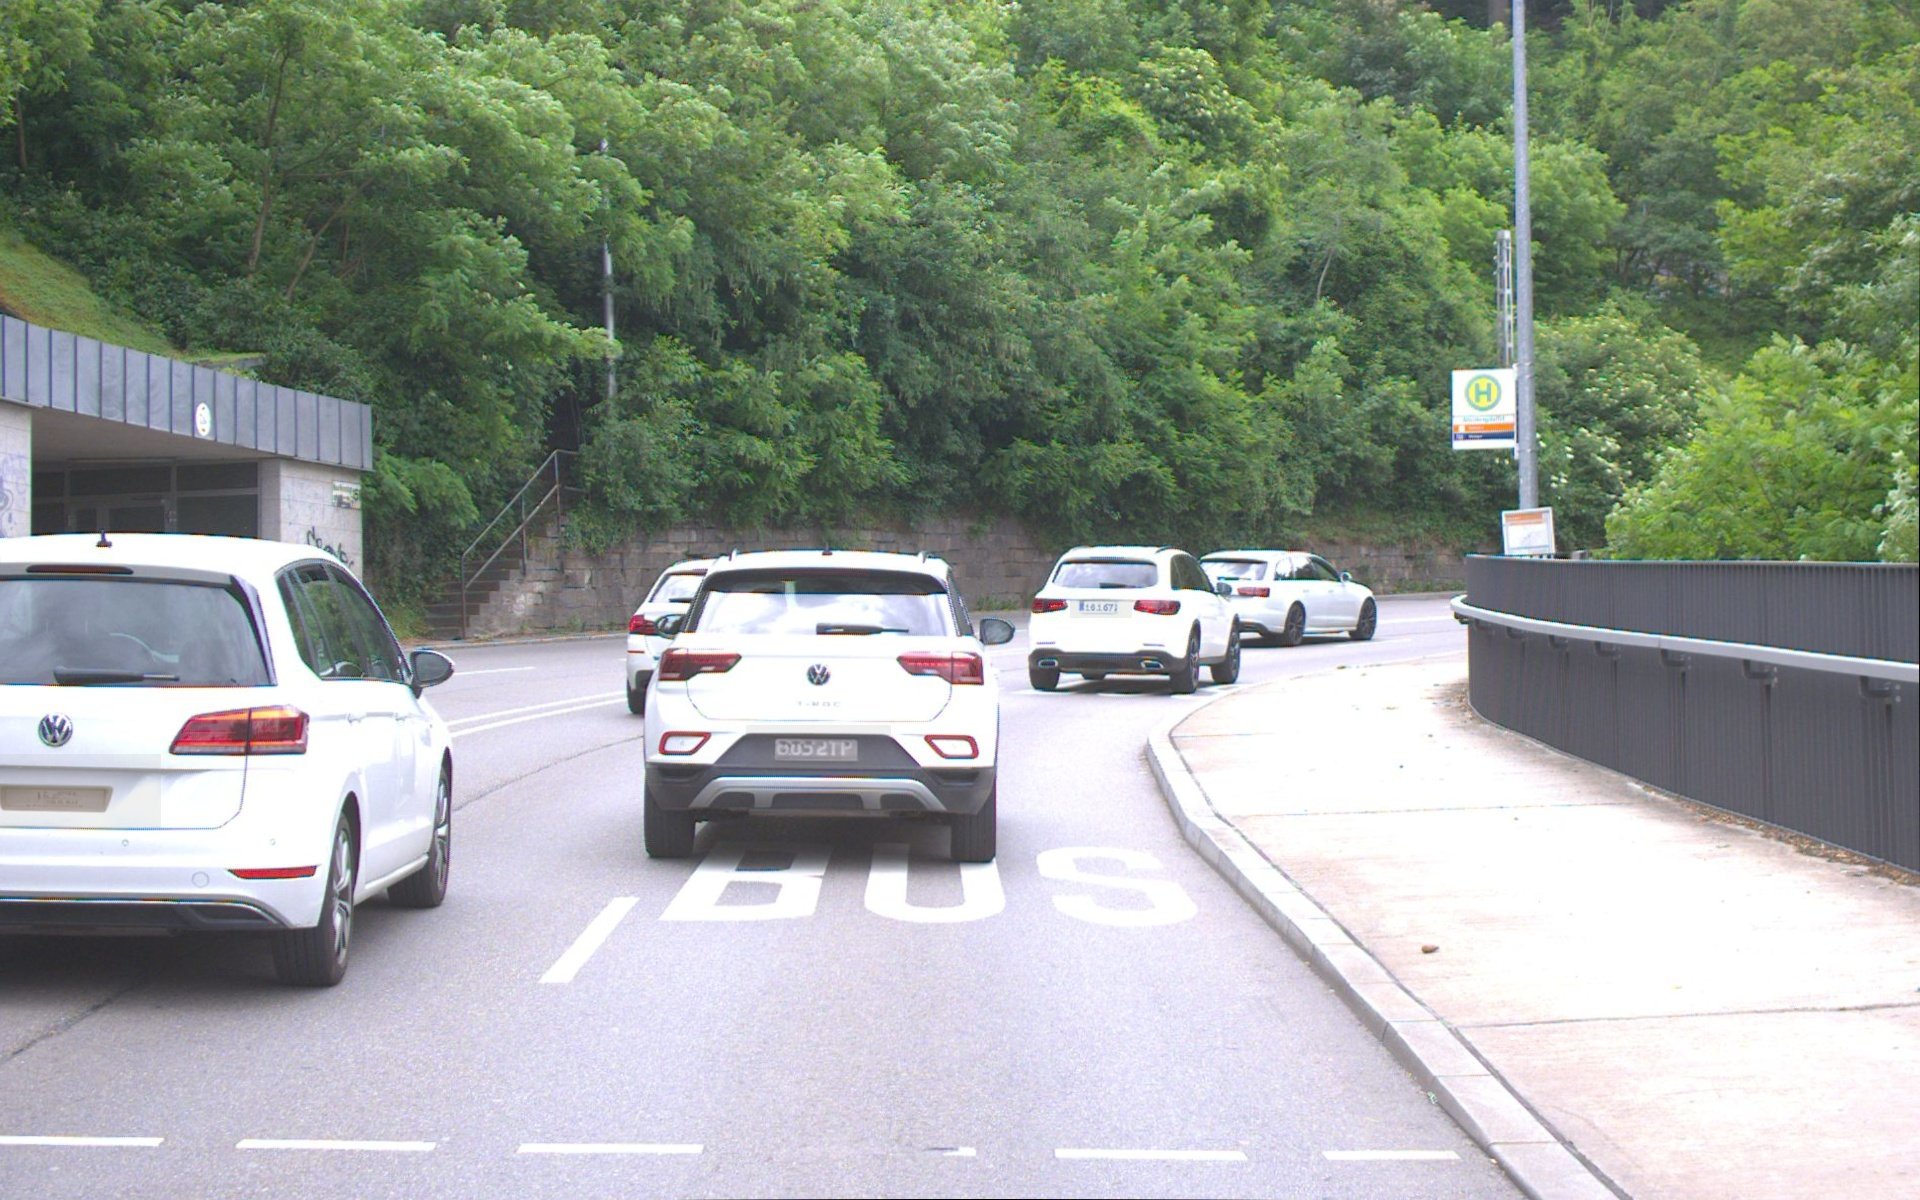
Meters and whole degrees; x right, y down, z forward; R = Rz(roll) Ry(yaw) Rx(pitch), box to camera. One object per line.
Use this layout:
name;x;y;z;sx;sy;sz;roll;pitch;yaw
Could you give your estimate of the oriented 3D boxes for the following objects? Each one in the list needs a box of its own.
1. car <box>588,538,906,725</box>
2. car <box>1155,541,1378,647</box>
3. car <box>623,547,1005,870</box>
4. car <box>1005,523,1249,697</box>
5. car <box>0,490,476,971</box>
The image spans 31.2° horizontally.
car;-1.935;0.243;32.827;1.994;1.552;4.679;3;1;9
car;4.869;-0.072;54.101;1.744;1.514;4.301;2;0;31
car;-0.778;0.518;18.380;1.813;1.534;4.009;0;0;-2
car;1.998;0.121;39.840;1.995;1.837;4.147;2;0;14
car;-2.995;0.403;13.303;1.720;1.549;4.276;1;0;-1
